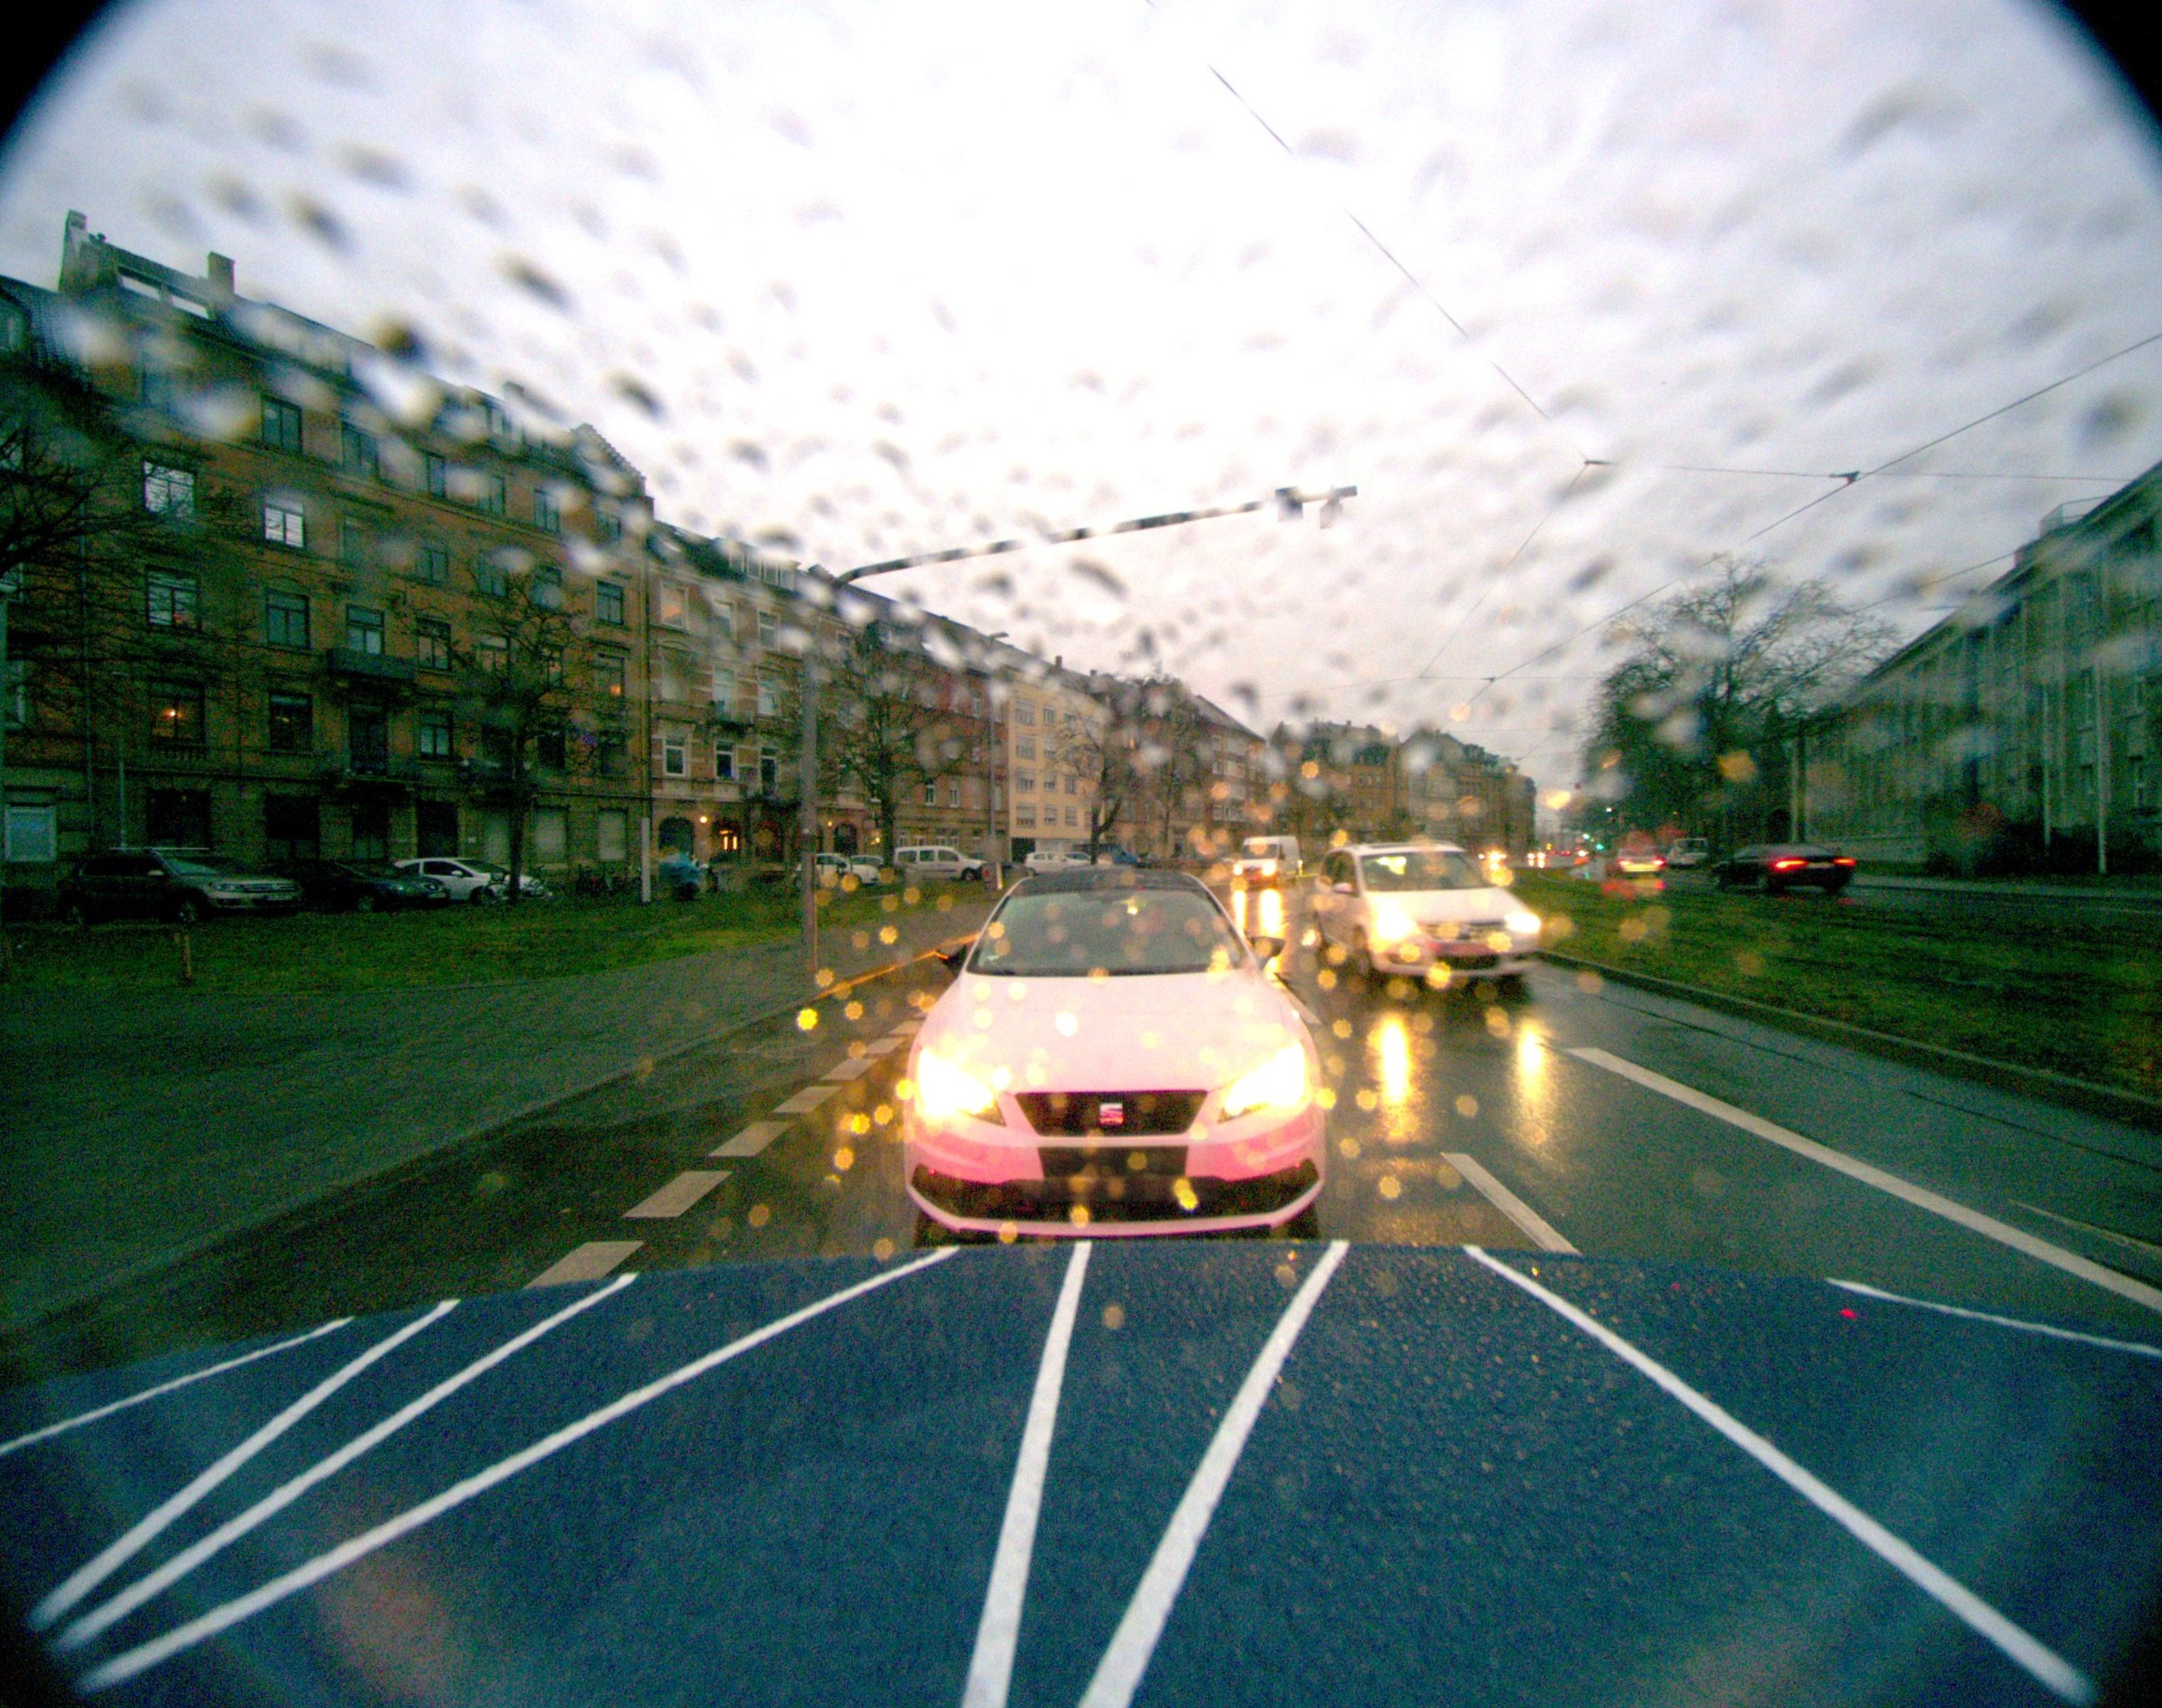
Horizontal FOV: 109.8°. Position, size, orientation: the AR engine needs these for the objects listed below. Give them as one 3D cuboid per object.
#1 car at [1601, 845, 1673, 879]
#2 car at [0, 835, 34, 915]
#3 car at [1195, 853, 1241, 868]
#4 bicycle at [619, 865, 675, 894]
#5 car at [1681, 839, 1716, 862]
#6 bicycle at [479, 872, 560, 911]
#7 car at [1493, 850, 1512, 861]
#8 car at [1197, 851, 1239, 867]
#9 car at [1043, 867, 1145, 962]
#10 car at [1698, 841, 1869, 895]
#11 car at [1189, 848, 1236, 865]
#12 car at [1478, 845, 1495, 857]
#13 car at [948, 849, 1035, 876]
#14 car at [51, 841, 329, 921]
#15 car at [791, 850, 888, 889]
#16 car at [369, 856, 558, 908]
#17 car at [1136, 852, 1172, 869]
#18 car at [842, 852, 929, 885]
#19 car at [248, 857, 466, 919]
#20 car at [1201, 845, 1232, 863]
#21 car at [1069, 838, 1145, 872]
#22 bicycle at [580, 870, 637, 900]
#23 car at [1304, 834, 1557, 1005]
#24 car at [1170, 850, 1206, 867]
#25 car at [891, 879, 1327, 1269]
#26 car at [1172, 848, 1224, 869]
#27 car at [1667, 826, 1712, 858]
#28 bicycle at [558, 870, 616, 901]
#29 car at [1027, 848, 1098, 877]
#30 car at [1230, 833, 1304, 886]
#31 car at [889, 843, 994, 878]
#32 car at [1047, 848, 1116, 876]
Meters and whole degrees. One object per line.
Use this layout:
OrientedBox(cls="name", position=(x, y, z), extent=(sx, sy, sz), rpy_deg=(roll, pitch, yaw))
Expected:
OrientedBox(cls="car", position=(27.155, 0.351, 37.240), extent=(1.823, 1.426, 4.662), rpy_deg=(-3, 0, 24))
OrientedBox(cls="car", position=(-29.084, 0.547, 17.937), extent=(1.994, 2.002, 4.997), rpy_deg=(1, 1, 33))
OrientedBox(cls="car", position=(11.916, 0.535, 66.200), extent=(3.762, 1.271, 1.602), rpy_deg=(-1, 0, 5))
OrientedBox(cls="bicycle", position=(-15.115, 0.878, 26.425), extent=(2.165, 0.960, 0.627), rpy_deg=(0, 1, 28))
OrientedBox(cls="car", position=(39.292, -0.231, 48.364), extent=(1.557, 1.420, 2.960), rpy_deg=(-1, 1, 36))
OrientedBox(cls="bicycle", position=(-14.428, 0.946, 19.571), extent=(1.655, 0.931, 0.513), rpy_deg=(0, 0, -35))
OrientedBox(cls="car", position=(56.948, 0.181, 102.567), extent=(1.892, 1.405, 3.955), rpy_deg=(0, 0, 33))
OrientedBox(cls="car", position=(12.672, 0.450, 70.156), extent=(3.760, 1.346, 1.603), rpy_deg=(-3, 0, 11))
OrientedBox(cls="car", position=(0.313, 0.989, 13.562), extent=(1.589, 1.418, 3.135), rpy_deg=(-1, 0, 4))
OrientedBox(cls="car", position=(21.041, 0.384, 23.035), extent=(1.659, 1.392, 4.527), rpy_deg=(-3, 0, 12))
OrientedBox(cls="car", position=(10.822, 0.208, 62.346), extent=(3.760, 1.325, 1.603), rpy_deg=(-1, 1, 11))
OrientedBox(cls="car", position=(56.529, -0.416, 105.837), extent=(1.719, 1.608, 3.946), rpy_deg=(-1, 0, 32))
OrientedBox(cls="car", position=(-4.524, 0.429, 38.769), extent=(4.058, 1.227, 1.771), rpy_deg=(1, 0, 6))
OrientedBox(cls="car", position=(-19.534, 0.540, 16.785), extent=(3.996, 1.627, 1.944), rpy_deg=(0, 1, 4))
OrientedBox(cls="car", position=(-10.022, 0.633, 31.667), extent=(3.462, 1.435, 1.615), rpy_deg=(-2, 0, 6))
OrientedBox(cls="car", position=(-17.146, 0.745, 21.240), extent=(3.856, 1.329, 1.698), rpy_deg=(-1, 0, -1))
OrientedBox(cls="car", position=(6.812, 0.572, 70.545), extent=(1.470, 1.534, 3.880), rpy_deg=(0, 1, 38))
OrientedBox(cls="car", position=(-8.748, 0.646, 34.135), extent=(3.430, 1.343, 1.664), rpy_deg=(-2, 0, 2))
OrientedBox(cls="car", position=(-17.936, 0.820, 18.947), extent=(3.742, 1.346, 1.677), rpy_deg=(-2, -1, -2))
OrientedBox(cls="car", position=(14.292, -0.015, 80.253), extent=(1.670, 1.693, 3.472), rpy_deg=(-3, 0, 40))
OrientedBox(cls="car", position=(1.609, 0.086, 48.589), extent=(4.720, 1.971, 1.799), rpy_deg=(-2, 0, -2))
OrientedBox(cls="bicycle", position=(-15.851, 1.050, 25.458), extent=(2.165, 0.960, 0.627), rpy_deg=(-2, -2, 28))
OrientedBox(cls="car", position=(4.105, 0.671, 9.699), extent=(1.673, 1.650, 4.150), rpy_deg=(-3, 0, 7))
OrientedBox(cls="car", position=(10.690, 0.457, 75.748), extent=(1.690, 1.534, 4.008), rpy_deg=(-3, 0, 38))
OrientedBox(cls="car", position=(0.160, 0.968, 4.948), extent=(1.715, 1.404, 3.679), rpy_deg=(-3, 0, 1))
OrientedBox(cls="car", position=(9.193, 0.341, 59.840), extent=(3.869, 1.397, 1.695), rpy_deg=(-3, 0, 6))
OrientedBox(cls="car", position=(41.779, -0.851, 52.227), extent=(1.995, 2.002, 4.518), rpy_deg=(-3, 0, 35))
OrientedBox(cls="bicycle", position=(-16.146, 1.044, 24.838), extent=(2.165, 0.960, 0.627), rpy_deg=(-2, -2, 28))
OrientedBox(cls="car", position=(-1.036, 0.465, 43.708), extent=(3.770, 1.424, 1.762), rpy_deg=(-3, 0, 9))
OrientedBox(cls="car", position=(9.268, 0.242, 37.481), extent=(2.125, 2.366, 5.648), rpy_deg=(-3, 0, 28))
OrientedBox(cls="car", position=(-6.650, 0.292, 36.531), extent=(4.659, 1.583, 1.778), rpy_deg=(1, 1, 3))
OrientedBox(cls="car", position=(0.005, 0.469, 45.766), extent=(3.998, 1.406, 1.641), rpy_deg=(-3, 0, -2))
